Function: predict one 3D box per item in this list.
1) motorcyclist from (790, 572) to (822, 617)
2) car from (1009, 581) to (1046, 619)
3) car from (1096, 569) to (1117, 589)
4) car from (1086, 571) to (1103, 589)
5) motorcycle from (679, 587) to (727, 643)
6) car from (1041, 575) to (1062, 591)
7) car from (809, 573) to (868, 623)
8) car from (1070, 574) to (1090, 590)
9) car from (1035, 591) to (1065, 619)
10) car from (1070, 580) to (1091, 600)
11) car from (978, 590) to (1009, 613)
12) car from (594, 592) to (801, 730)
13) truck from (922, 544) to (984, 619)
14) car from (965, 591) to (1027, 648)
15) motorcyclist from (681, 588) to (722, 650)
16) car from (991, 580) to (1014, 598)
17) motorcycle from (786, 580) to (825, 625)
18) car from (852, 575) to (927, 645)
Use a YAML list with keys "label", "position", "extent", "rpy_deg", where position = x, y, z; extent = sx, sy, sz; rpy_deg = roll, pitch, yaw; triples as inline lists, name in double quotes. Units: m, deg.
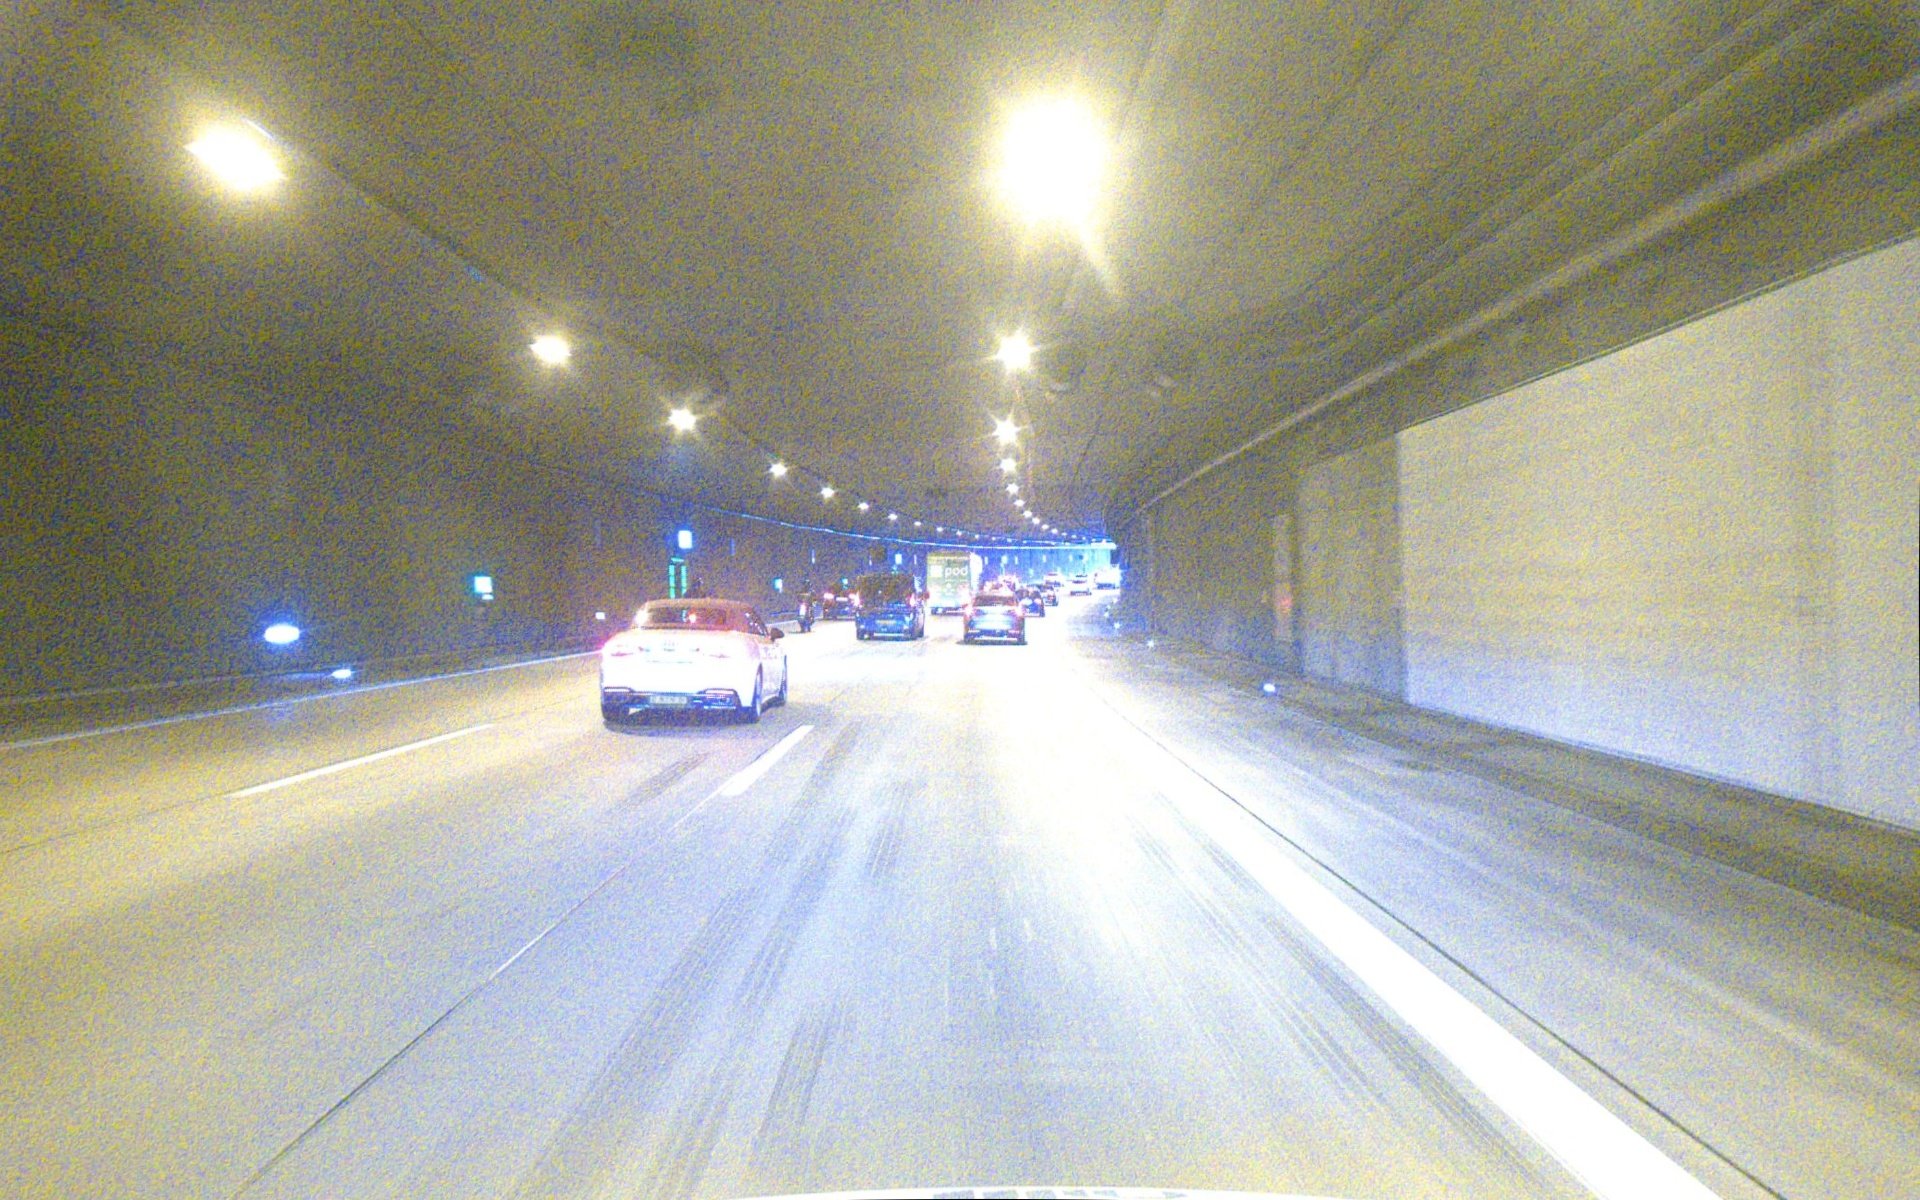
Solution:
- label: "motorcyclist"
  position: [-5.157, -0.169, 55.481]
  extent: [0.789, 1.474, 1.865]
  rpy_deg: [0, -2, 2]
- label: "car"
  position: [3.425, -0.001, 84.310]
  extent: [1.818, 1.887, 4.001]
  rpy_deg: [1, 0, 2]
- label: "car"
  position: [15.763, -2.206, 177.932]
  extent: [1.951, 2.049, 4.003]
  rpy_deg: [0, -1, 9]
- label: "car"
  position: [16.191, -2.454, 199.359]
  extent: [1.951, 2.049, 4.002]
  rpy_deg: [0, -1, 6]
- label: "motorcycle"
  position: [-6.245, 0.355, 40.287]
  extent: [0.668, 1.320, 2.399]
  rpy_deg: [0, -1, 3]
- label: "car"
  position: [10.319, -1.947, 186.954]
  extent: [1.889, 1.671, 4.003]
  rpy_deg: [0, -1, 10]
- label: "car"
  position: [-5.121, -0.090, 69.970]
  extent: [1.952, 2.049, 4.002]
  rpy_deg: [1, 0, 3]
- label: "car"
  position: [13.383, -2.036, 183.995]
  extent: [1.951, 1.660, 4.003]
  rpy_deg: [0, -1, 9]
- label: "car"
  position: [6.025, 0.329, 110.951]
  extent: [1.909, 1.803, 4.001]
  rpy_deg: [0, -1, 3]
- label: "car"
  position: [10.908, -0.906, 149.836]
  extent: [1.890, 1.671, 4.001]
  rpy_deg: [0, -1, 4]
- label: "car"
  position: [2.519, 0.119, 122.888]
  extent: [1.951, 1.660, 4.003]
  rpy_deg: [1, 0, 6]
- label: "car"
  position: [-3.072, 0.644, 20.359]
  extent: [1.667, 1.443, 5.061]
  rpy_deg: [0, 1, 1]
- label: "truck"
  position: [-0.286, -0.952, 87.151]
  extent: [2.976, 3.737, 7.394]
  rpy_deg: [1, 0, 2]
- label: "car"
  position: [1.096, 0.532, 48.237]
  extent: [1.706, 1.489, 3.873]
  rpy_deg: [0, 2, 3]
- label: "motorcyclist"
  position: [-6.278, 0.470, 40.204]
  extent: [0.761, 1.478, 1.069]
  rpy_deg: [0, -1, 4]
- label: "car"
  position: [4.005, -0.993, 156.064]
  extent: [1.890, 1.671, 4.003]
  rpy_deg: [1, 0, 5]
- label: "motorcycle"
  position: [-5.167, 0.101, 55.532]
  extent: [0.907, 1.459, 2.964]
  rpy_deg: [1, -1, 2]
- label: "car"
  position: [-2.096, 0.260, 50.242]
  extent: [1.869, 1.978, 3.873]
  rpy_deg: [0, 1, 4]
